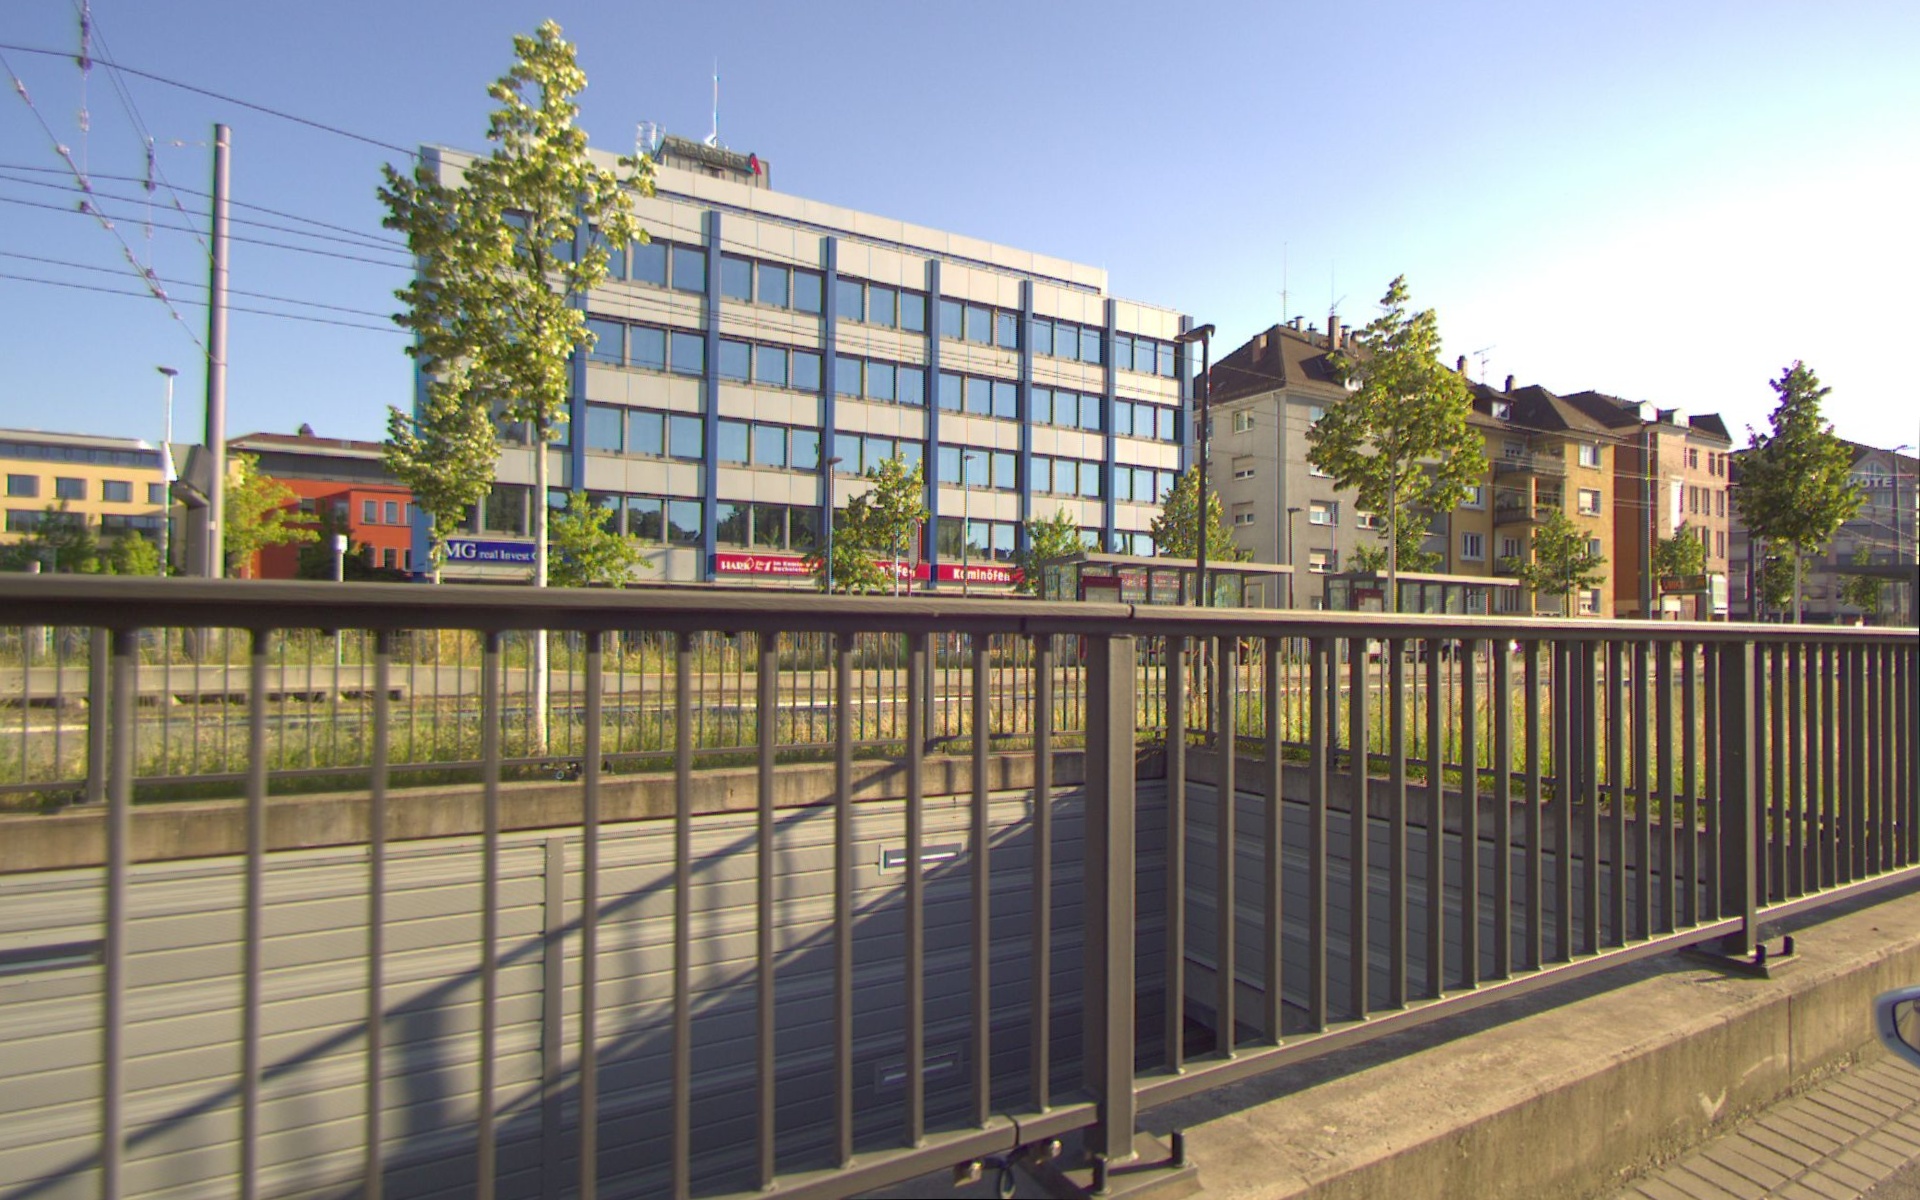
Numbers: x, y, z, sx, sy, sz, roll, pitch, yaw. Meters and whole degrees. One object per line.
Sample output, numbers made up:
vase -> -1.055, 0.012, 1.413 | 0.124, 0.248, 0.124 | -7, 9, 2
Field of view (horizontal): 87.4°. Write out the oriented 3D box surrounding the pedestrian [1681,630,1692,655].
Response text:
pedestrian -> 55.760, 3.250, 77.085 | 0.543, 1.847, 0.482 | 1, -1, -33

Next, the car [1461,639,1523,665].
car -> 31.897, 3.104, 60.168 | 3.512, 1.505, 1.738 | 2, -2, -31

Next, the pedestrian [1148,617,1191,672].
pedestrian -> 5.598, 1.188, 26.853 | 0.794, 1.429, 0.834 | 1, -2, -31

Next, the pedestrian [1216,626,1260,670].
pedestrian -> 7.793, 1.326, 28.129 | 0.755, 1.213, 0.929 | 1, -2, -30

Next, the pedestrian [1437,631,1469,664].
pedestrian -> 16.161, 1.541, 32.900 | 0.785, 1.061, 0.624 | 1, -2, -31
